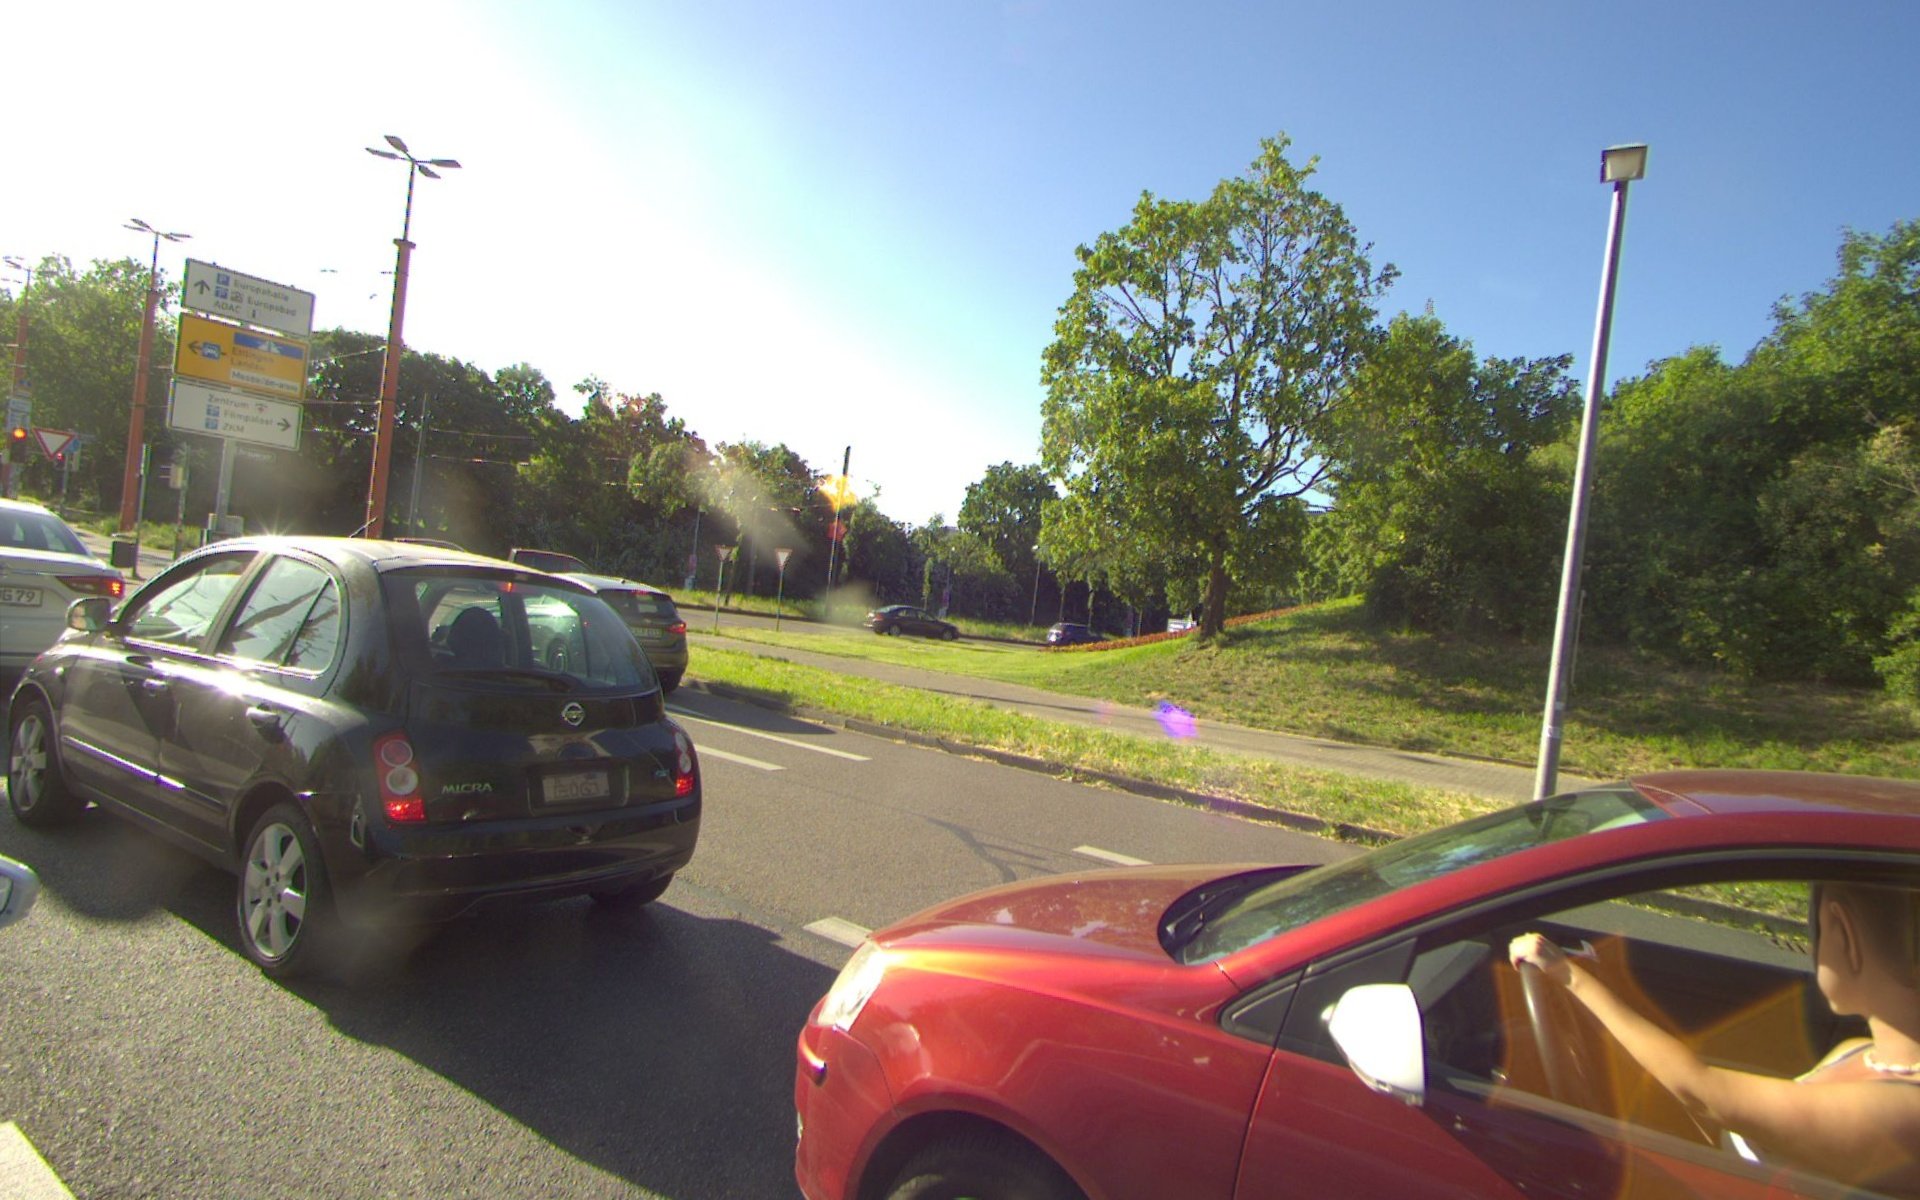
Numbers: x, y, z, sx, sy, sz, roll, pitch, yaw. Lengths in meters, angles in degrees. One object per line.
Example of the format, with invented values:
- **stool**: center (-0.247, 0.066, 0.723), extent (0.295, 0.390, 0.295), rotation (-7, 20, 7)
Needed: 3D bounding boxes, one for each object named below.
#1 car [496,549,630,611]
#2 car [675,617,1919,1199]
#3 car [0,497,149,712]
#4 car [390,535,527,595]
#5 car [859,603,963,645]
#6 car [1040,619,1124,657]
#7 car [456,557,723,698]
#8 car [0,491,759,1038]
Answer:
- **car**: center (-14.912, -0.751, 37.840), extent (4.311, 1.753, 1.828), rotation (8, -1, -30)
- **car**: center (1.372, 0.990, 1.895), extent (3.634, 1.434, 1.624), rotation (7, -1, 34)
- **car**: center (-8.344, -0.164, 7.979), extent (4.077, 1.472, 1.717), rotation (7, -1, 33)
- **car**: center (-19.403, -1.337, 38.945), extent (4.517, 1.688, 1.828), rotation (8, -1, -30)
- **car**: center (-2.188, 1.085, 45.324), extent (4.271, 1.343, 1.748), rotation (8, -1, -29)
- **car**: center (6.600, 2.069, 54.527), extent (4.186, 1.497, 1.741), rotation (8, -1, -29)
- **car**: center (-5.321, 0.350, 14.270), extent (3.836, 1.487, 1.745), rotation (7, -1, 39)
- **car**: center (-2.819, 0.464, 4.626), extent (3.457, 1.524, 1.558), rotation (7, 0, 32)
